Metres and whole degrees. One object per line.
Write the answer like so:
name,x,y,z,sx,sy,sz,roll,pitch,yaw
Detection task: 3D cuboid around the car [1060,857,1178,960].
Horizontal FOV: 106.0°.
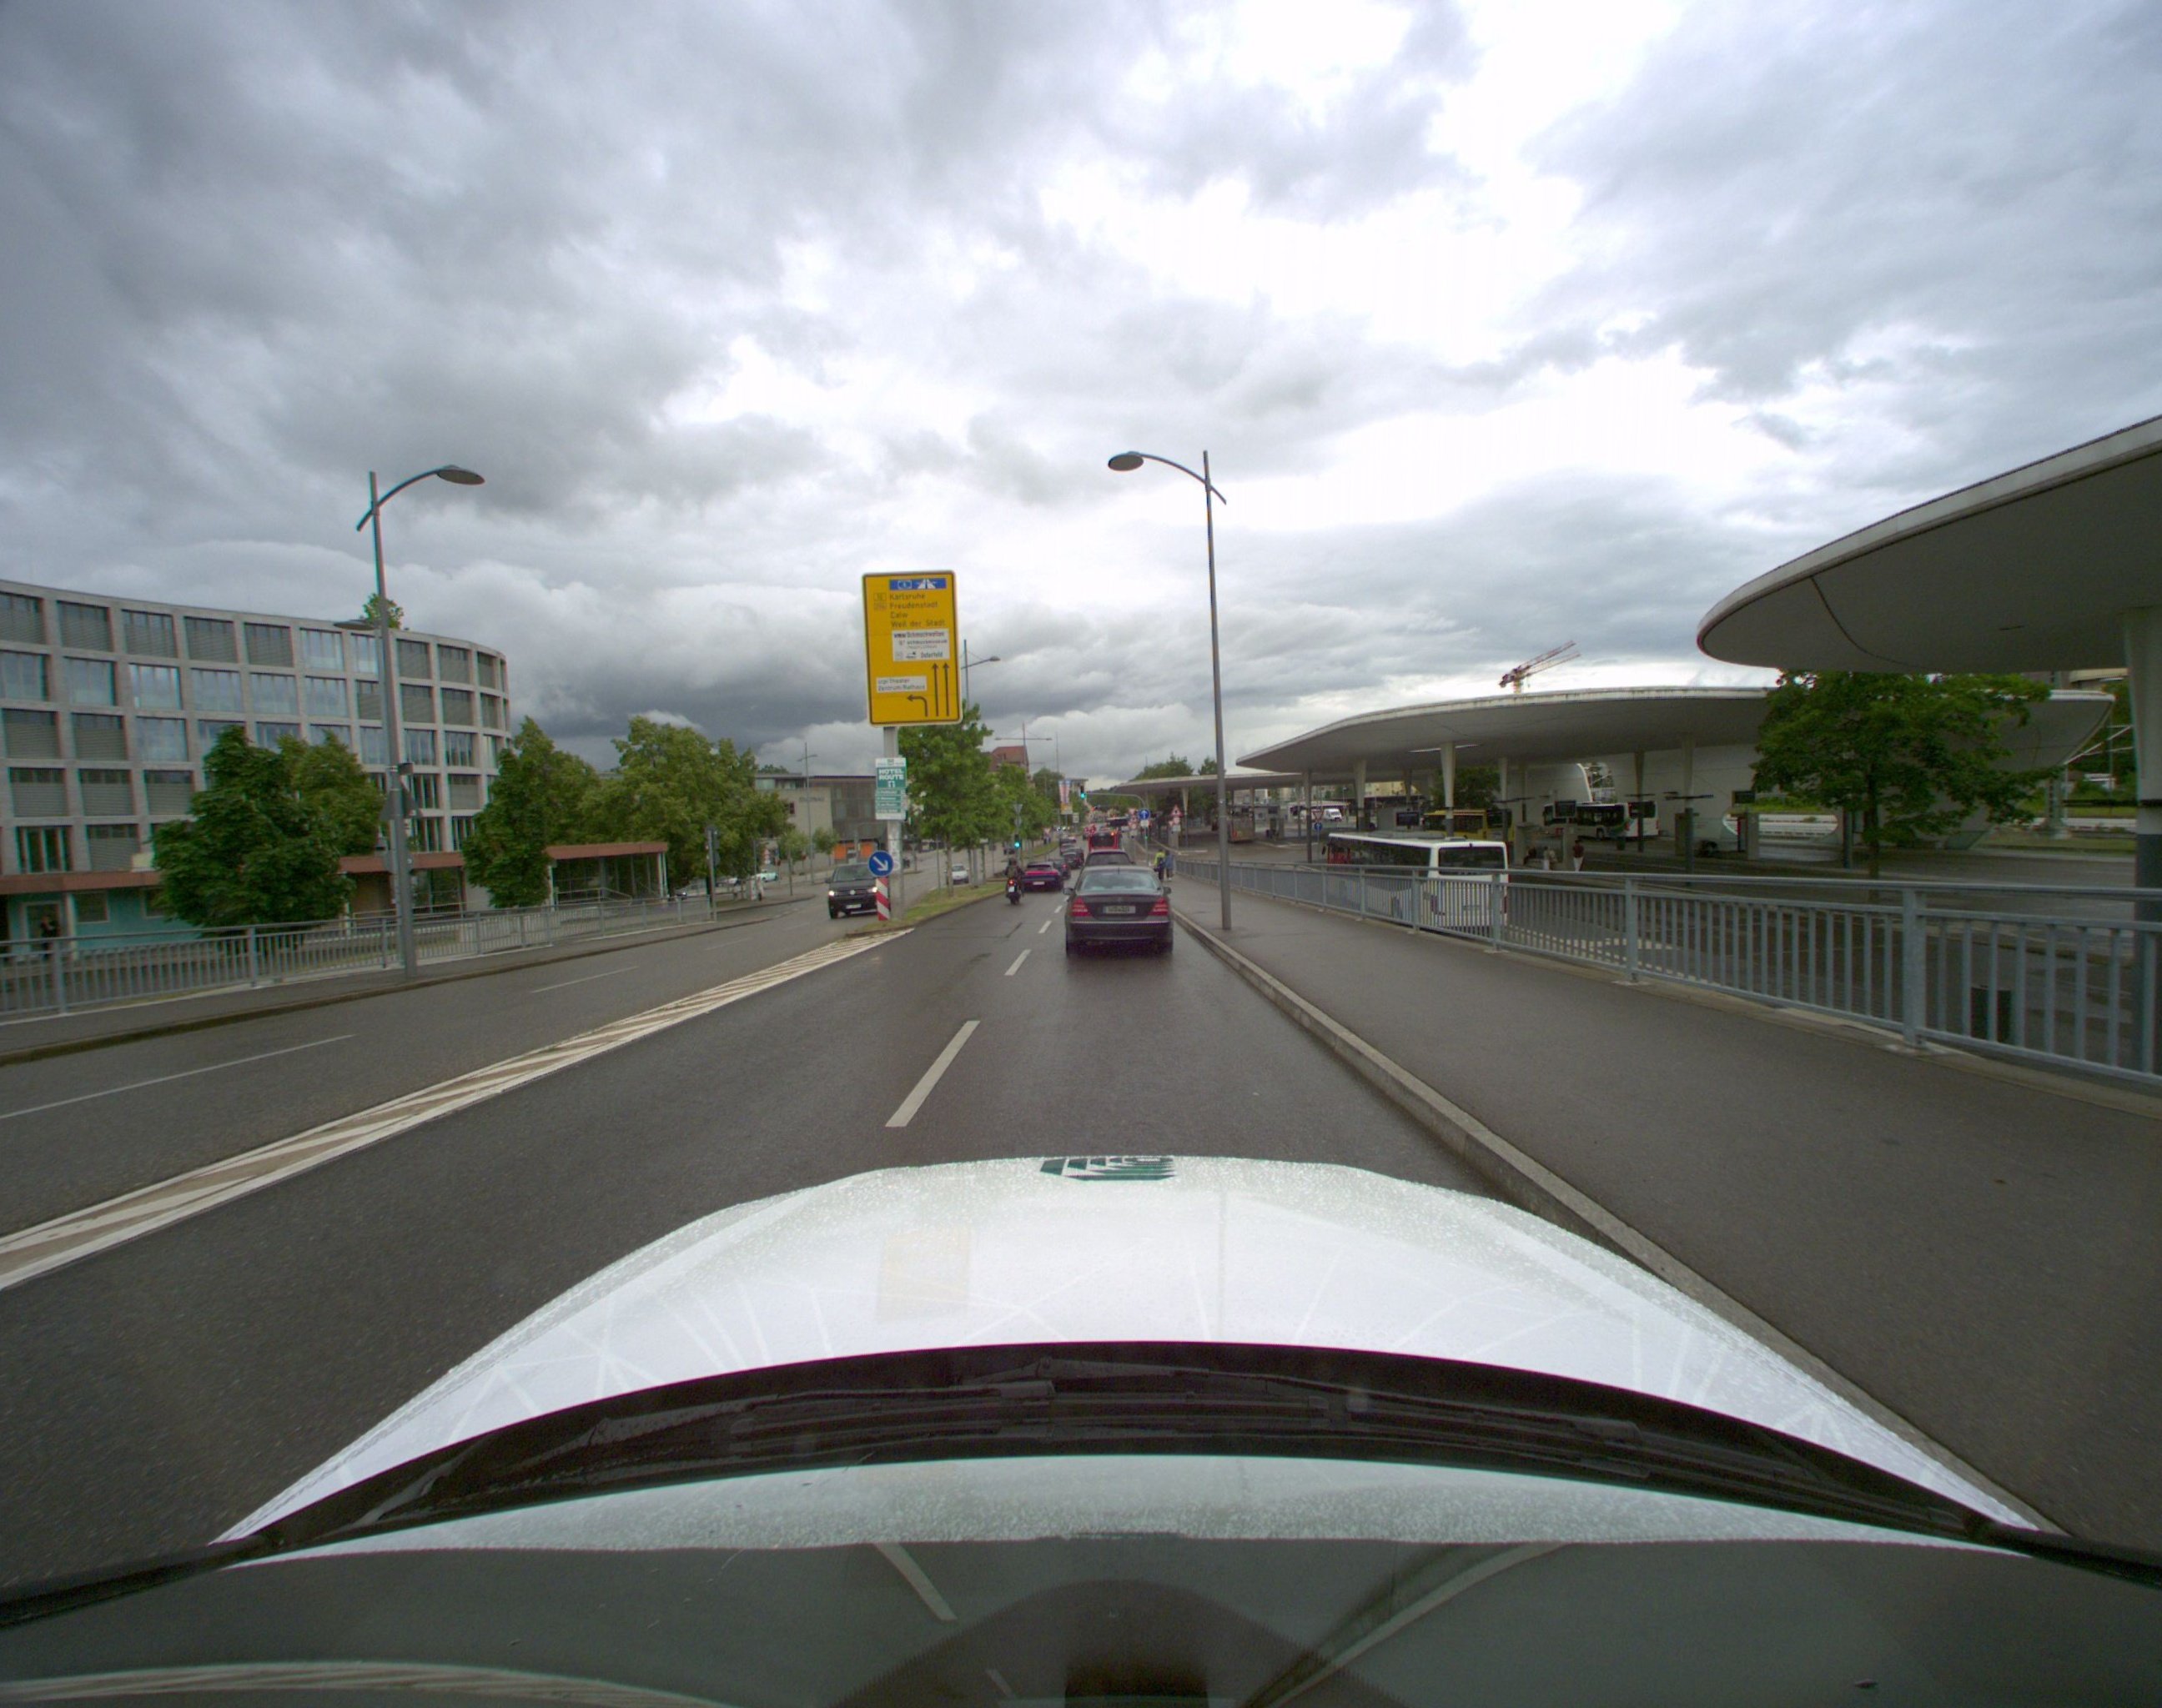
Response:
car,0.605,0.814,14.019,1.691,1.462,4.304,-1,-1,1

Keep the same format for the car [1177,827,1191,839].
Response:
car,16.264,-3.330,128.451,1.706,1.661,4.241,-3,3,1

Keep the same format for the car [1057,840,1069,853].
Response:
car,-2.818,-1.178,127.306,1.791,1.907,3.641,0,-1,2

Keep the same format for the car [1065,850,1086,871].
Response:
car,-0.471,0.535,72.678,1.569,1.504,3.874,-6,3,3

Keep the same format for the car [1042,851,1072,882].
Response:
car,-1.582,0.816,54.857,1.670,1.622,3.873,-6,3,2

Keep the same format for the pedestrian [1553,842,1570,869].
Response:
pedestrian,25.943,0.061,43.984,0.566,1.393,0.558,-4,2,7

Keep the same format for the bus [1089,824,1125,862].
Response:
bus,2.740,-1.225,84.478,3.278,3.288,8.857,-5,3,2

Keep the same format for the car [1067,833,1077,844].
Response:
car,-1.577,-2.724,141.356,1.636,1.804,3.641,0,-1,2

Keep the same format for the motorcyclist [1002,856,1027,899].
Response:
motorcyclist,-2.265,0.794,27.736,0.638,1.347,0.690,-4,3,5

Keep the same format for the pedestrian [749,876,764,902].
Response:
pedestrian,-21.027,2.257,52.785,0.651,1.570,0.629,-5,0,-7

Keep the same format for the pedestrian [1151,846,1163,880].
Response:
pedestrian,3.810,0.470,40.833,0.520,1.670,0.580,-2,0,1

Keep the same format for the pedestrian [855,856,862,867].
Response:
pedestrian,-28.997,0.979,106.112,0.676,1.392,0.721,-4,2,-1

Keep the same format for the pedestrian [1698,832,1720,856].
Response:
pedestrian,35.301,-0.573,45.789,0.705,1.325,0.803,0,-1,9

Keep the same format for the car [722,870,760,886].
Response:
car,-41.556,2.911,99.459,1.743,1.495,3.813,-2,3,40

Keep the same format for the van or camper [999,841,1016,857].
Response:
van or camper,-11.051,-0.708,122.452,2.215,2.072,5.270,-5,0,-7

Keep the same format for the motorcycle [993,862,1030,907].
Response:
motorcycle,-2.324,1.001,27.471,0.789,1.261,1.858,-5,3,5

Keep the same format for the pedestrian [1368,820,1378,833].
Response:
pedestrian,36.914,-3.510,102.889,0.793,1.586,0.907,-2,2,-5

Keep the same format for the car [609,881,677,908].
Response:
car,-32.768,3.022,61.024,1.706,1.508,4.081,-2,3,44

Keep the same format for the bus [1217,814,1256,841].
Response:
bus,19.635,-3.442,103.614,2.711,3.042,12.096,-5,3,2

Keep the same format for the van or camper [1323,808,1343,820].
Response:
van or camper,45.962,-7.288,148.586,1.986,2.103,5.482,-1,1,1

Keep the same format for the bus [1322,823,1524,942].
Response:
bus,12.542,0.679,31.705,2.835,3.360,12.433,0,4,1

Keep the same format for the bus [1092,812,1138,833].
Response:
bus,7.167,-6.819,176.522,2.861,3.986,11.729,-6,3,-37

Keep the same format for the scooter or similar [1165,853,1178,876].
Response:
scooter or similar,5.078,0.603,45.926,0.462,1.221,1.860,-4,-1,1

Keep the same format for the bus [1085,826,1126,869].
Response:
bus,2.374,-0.740,75.883,3.273,3.290,10.887,-5,3,2

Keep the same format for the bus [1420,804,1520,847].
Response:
bus,33.440,-2.574,70.748,2.780,3.256,12.142,-4,3,0

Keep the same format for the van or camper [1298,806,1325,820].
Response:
van or camper,43.870,-7.866,155.315,4.592,2.557,2.119,-1,1,0

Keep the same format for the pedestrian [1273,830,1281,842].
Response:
pedestrian,24.316,-2.258,100.957,0.786,1.377,0.637,-3,3,19

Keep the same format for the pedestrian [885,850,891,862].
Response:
pedestrian,-28.159,0.348,118.895,0.471,1.683,0.765,-4,3,8

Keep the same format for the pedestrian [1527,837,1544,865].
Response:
pedestrian,25.992,-0.162,46.570,0.587,1.589,0.677,0,-1,-3

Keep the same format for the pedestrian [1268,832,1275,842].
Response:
pedestrian,24.100,-2.130,103.097,0.786,1.226,0.637,-3,3,19

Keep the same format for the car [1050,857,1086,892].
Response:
car,-0.696,1.137,47.014,1.735,1.566,3.873,-6,3,2

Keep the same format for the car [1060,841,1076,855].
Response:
car,-1.584,-0.772,103.436,1.859,1.684,4.001,-1,0,1

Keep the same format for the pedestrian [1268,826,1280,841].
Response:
pedestrian,22.019,-2.321,92.860,0.721,1.683,1.013,-7,3,-24

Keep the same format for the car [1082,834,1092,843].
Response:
car,1.167,-2.880,151.297,1.859,1.684,4.001,-1,0,1

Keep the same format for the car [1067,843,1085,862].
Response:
car,-0.468,-0.150,83.433,1.570,1.566,3.873,-6,3,2

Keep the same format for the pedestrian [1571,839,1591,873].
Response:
pedestrian,25.384,0.093,41.319,0.646,1.654,0.632,-6,3,-39

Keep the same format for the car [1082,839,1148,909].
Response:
car,1.151,0.613,28.736,1.950,1.875,4.877,-6,3,2

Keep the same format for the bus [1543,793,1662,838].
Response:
bus,43.317,-3.298,68.286,2.457,3.256,11.979,-5,3,2

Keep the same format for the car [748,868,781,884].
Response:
car,-37.258,2.540,95.826,1.615,1.495,3.599,-4,3,17

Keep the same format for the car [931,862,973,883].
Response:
car,-9.761,1.391,61.358,1.643,1.448,3.836,-6,2,-32

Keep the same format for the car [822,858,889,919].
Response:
car,-8.275,1.221,30.252,1.845,1.967,4.669,-3,-1,-10

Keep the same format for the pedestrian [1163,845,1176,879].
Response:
pedestrian,4.418,0.411,40.714,0.587,1.670,0.580,-1,-2,1

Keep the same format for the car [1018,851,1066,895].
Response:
car,-1.787,0.852,38.820,1.809,1.570,4.407,-6,3,2

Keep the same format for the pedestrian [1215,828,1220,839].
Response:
pedestrian,21.669,-3.198,128.932,0.559,1.691,0.613,-3,3,-5

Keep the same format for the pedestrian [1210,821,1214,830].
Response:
pedestrian,22.481,-4.910,139.527,0.573,1.578,0.565,-1,-1,31

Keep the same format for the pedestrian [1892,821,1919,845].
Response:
pedestrian,46.258,-1.172,45.699,0.706,1.325,0.802,0,-1,4

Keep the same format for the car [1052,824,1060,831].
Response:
car,-7.011,-7.347,226.611,1.773,1.566,3.432,-6,3,2
